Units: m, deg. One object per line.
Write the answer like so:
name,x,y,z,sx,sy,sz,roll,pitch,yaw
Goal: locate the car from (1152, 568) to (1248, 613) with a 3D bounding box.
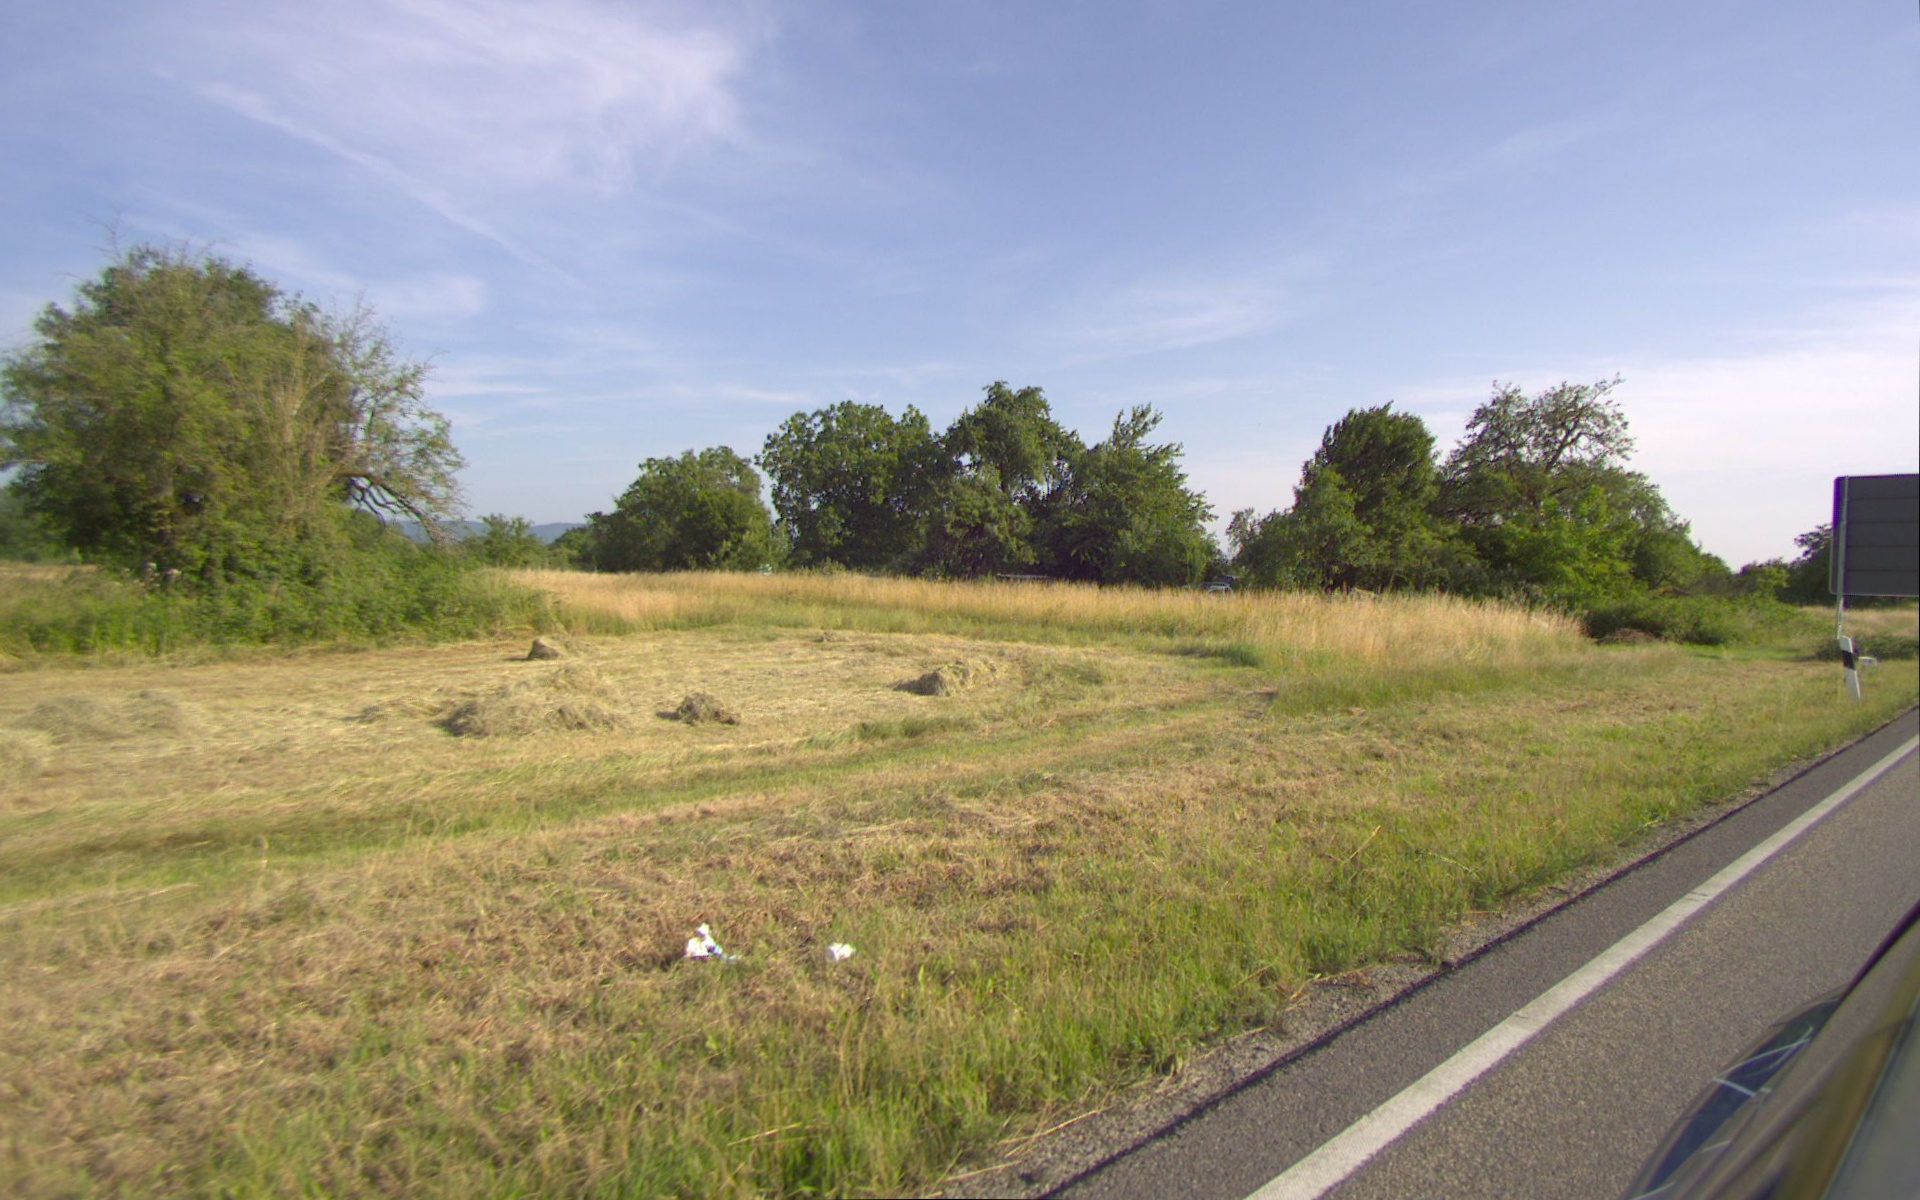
car,9.960,-0.379,41.908,3.930,1.772,1.997,0,0,-41
